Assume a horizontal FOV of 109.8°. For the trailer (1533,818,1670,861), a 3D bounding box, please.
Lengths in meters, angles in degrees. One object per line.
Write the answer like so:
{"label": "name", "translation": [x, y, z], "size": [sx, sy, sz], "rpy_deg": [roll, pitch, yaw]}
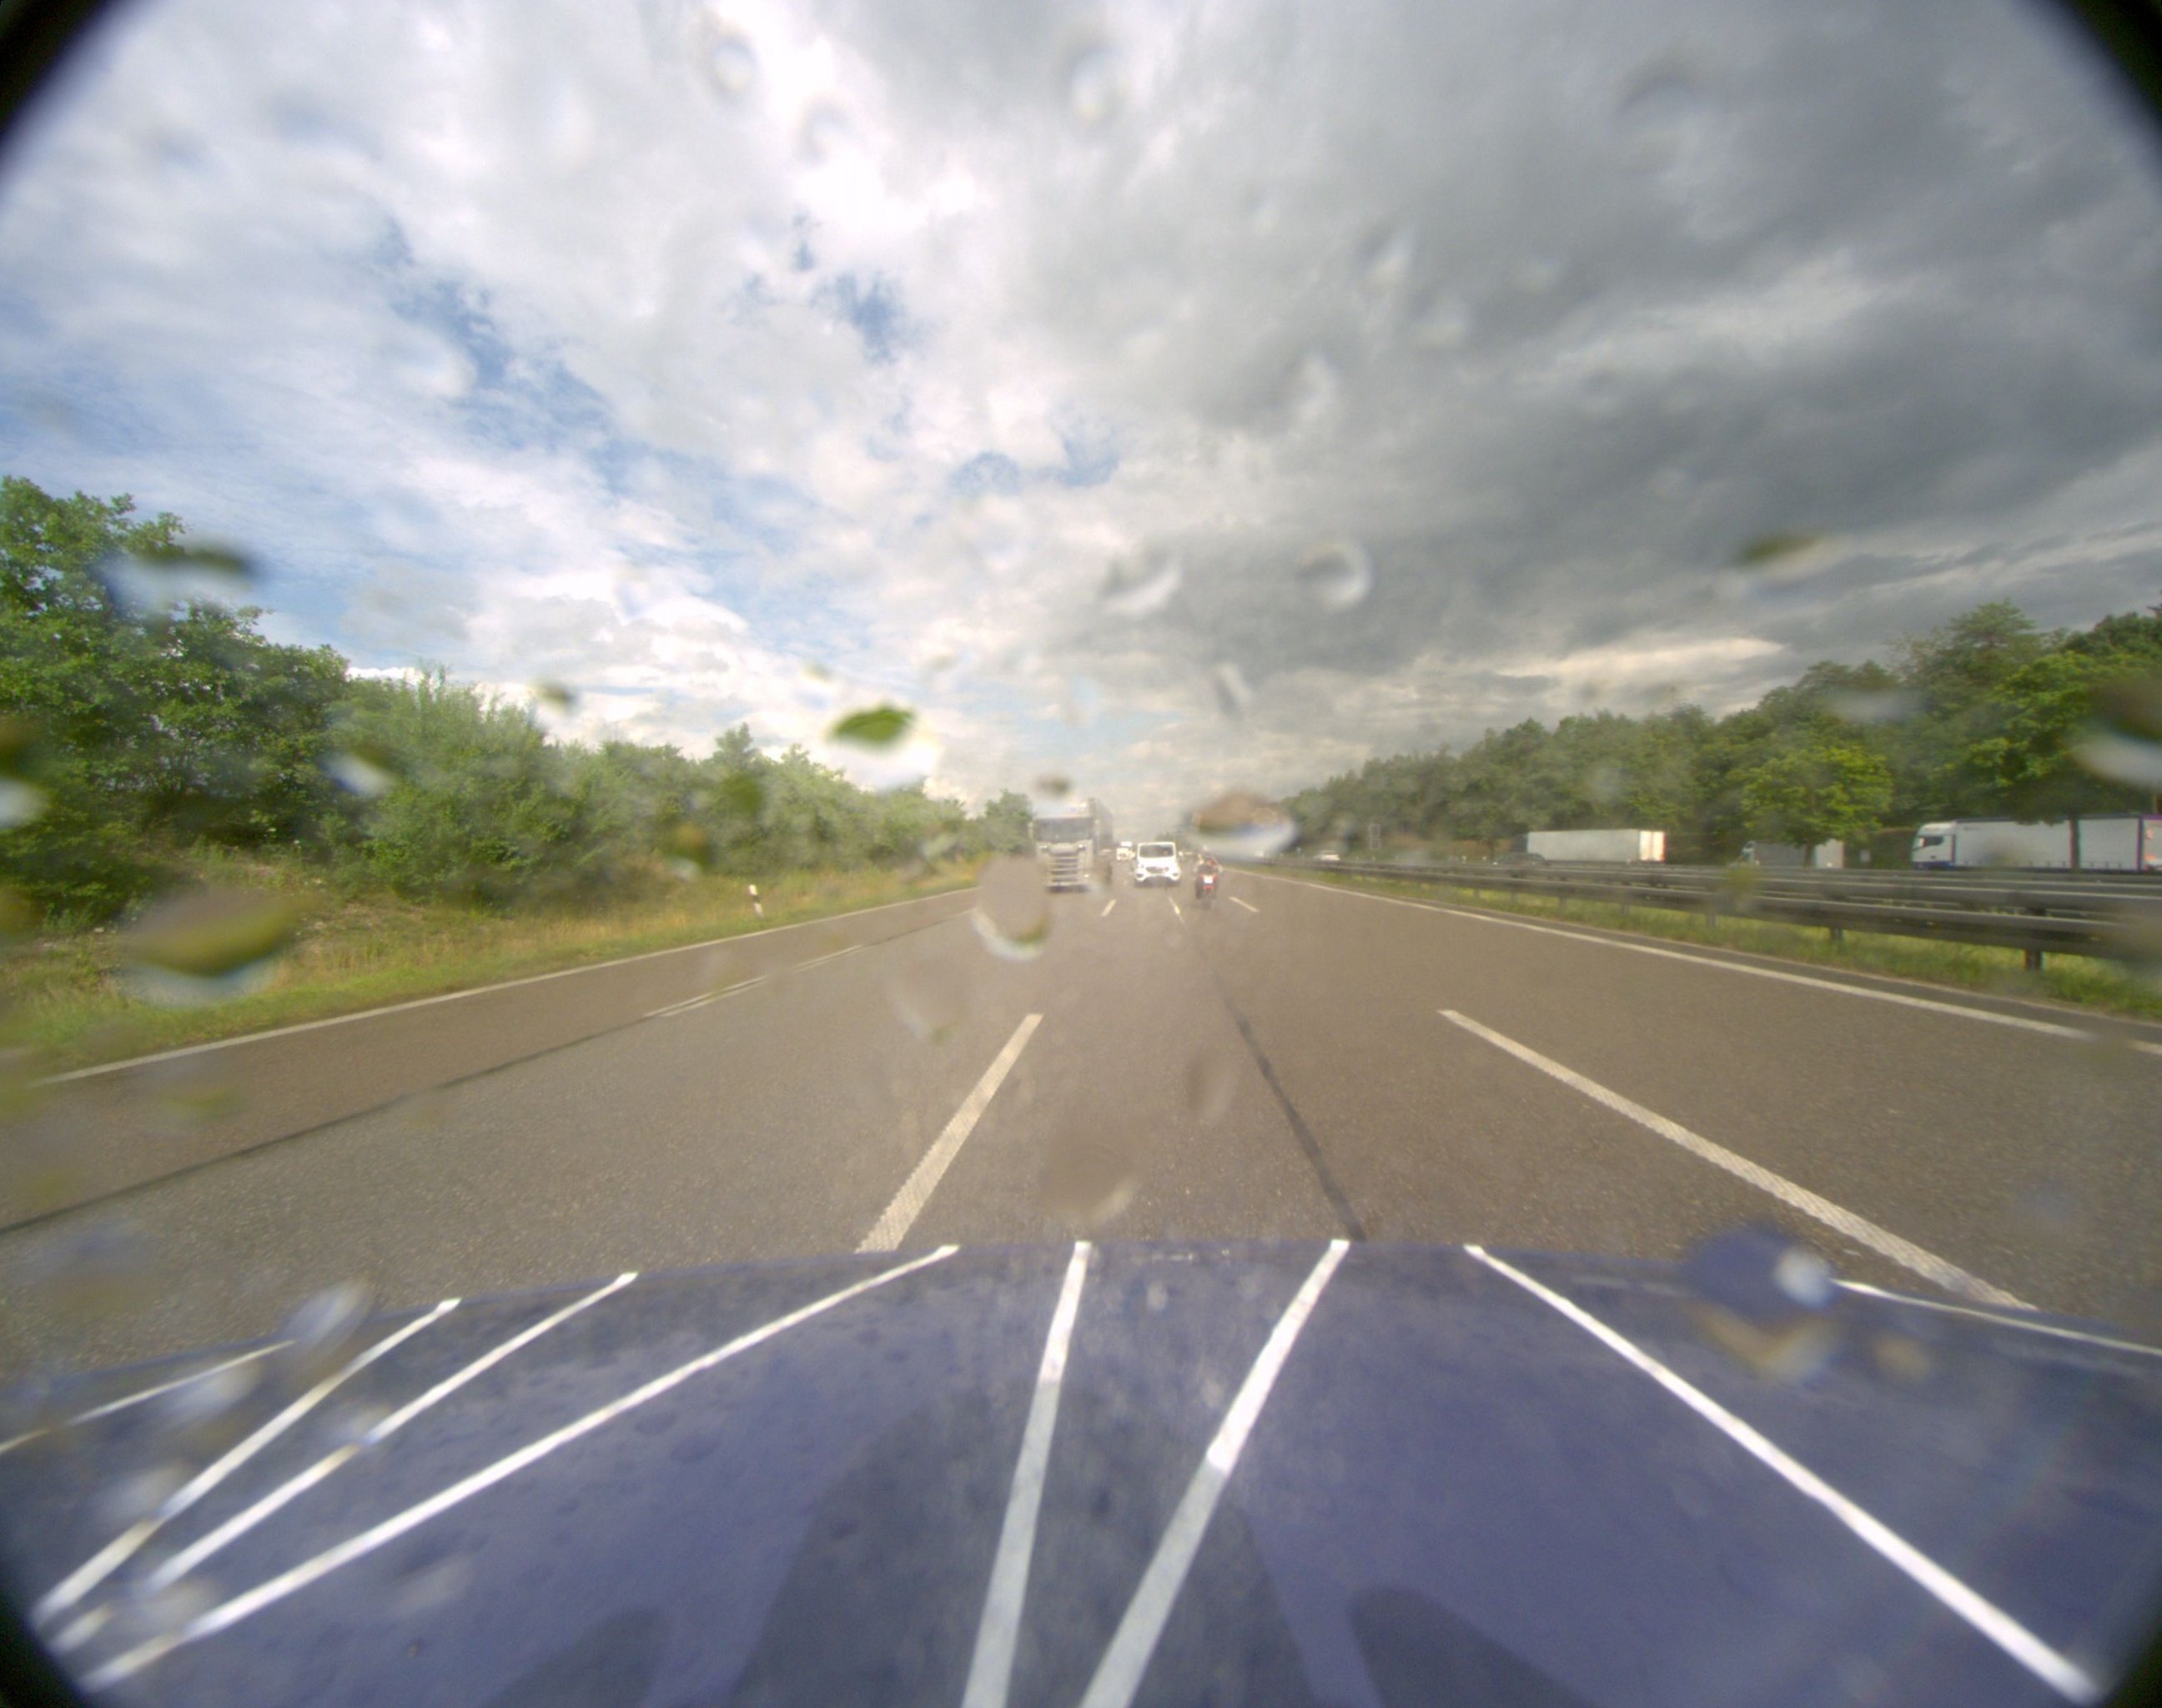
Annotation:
{"label": "trailer", "translation": [49.821, -1.334, 73.544], "size": [3.214, 3.717, 12.558], "rpy_deg": [-1, 1, -9]}

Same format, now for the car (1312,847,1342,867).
{"label": "car", "translation": [24.675, 0.282, 76.406], "size": [1.834, 1.880, 4.780], "rpy_deg": [-2, 1, 5]}

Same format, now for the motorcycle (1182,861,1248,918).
{"label": "motorcycle", "translation": [3.398, 0.863, 19.631], "size": [1.187, 1.219, 3.194], "rpy_deg": [-2, 1, 2]}

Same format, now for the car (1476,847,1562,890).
{"label": "car", "translation": [21.568, 0.657, 37.649], "size": [1.834, 1.880, 4.780], "rpy_deg": [-2, 1, 5]}

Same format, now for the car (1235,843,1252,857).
{"label": "car", "translation": [24.362, -0.613, 113.743], "size": [1.834, 1.880, 4.780], "rpy_deg": [-2, 1, 5]}

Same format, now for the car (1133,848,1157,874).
{"label": "car", "translation": [5.363, 0.542, 63.402], "size": [1.834, 2.033, 4.780], "rpy_deg": [-2, 1, 5]}

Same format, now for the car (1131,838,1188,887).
{"label": "car", "translation": [3.593, 0.330, 35.321], "size": [2.349, 2.033, 5.144], "rpy_deg": [-2, 1, 5]}

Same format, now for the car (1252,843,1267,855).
{"label": "car", "translation": [32.813, -0.980, 139.674], "size": [1.834, 2.033, 4.780], "rpy_deg": [-2, 1, 5]}

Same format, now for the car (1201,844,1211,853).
{"label": "car", "translation": [28.901, -1.323, 176.101], "size": [1.834, 2.033, 4.780], "rpy_deg": [-2, 1, 5]}

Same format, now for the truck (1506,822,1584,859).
{"label": "truck", "translation": [48.759, -1.404, 80.041], "size": [3.218, 3.683, 6.910], "rpy_deg": [-3, 1, -9]}

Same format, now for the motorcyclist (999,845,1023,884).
{"label": "motorcyclist", "translation": [-3.141, 0.446, 34.197], "size": [0.883, 1.696, 1.001], "rpy_deg": [-2, 1, 3]}

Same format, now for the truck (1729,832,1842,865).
{"label": "truck", "translation": [52.749, -0.436, 57.121], "size": [2.125, 2.252, 6.313], "rpy_deg": [-2, 1, -8]}

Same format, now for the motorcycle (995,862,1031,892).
{"label": "motorcycle", "translation": [-3.061, 1.016, 34.426], "size": [1.187, 1.142, 3.194], "rpy_deg": [-2, 1, 2]}

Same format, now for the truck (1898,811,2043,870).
{"label": "truck", "translation": [53.677, -0.810, 46.051], "size": [2.662, 3.249, 5.083], "rpy_deg": [-2, 1, -5]}

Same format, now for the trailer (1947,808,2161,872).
{"label": "trailer", "translation": [54.083, -0.782, 42.262], "size": [2.587, 3.214, 7.737], "rpy_deg": [-1, 1, -5]}

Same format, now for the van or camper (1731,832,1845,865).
{"label": "van or camper", "translation": [52.749, -0.434, 56.957], "size": [2.125, 2.252, 6.318], "rpy_deg": [-2, 1, -8]}

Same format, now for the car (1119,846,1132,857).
{"label": "car", "translation": [8.596, -0.525, 146.810], "size": [2.349, 2.033, 5.144], "rpy_deg": [-2, 1, 5]}

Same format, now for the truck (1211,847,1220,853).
{"label": "truck", "translation": [33.164, -1.031, 187.349], "size": [1.892, 1.187, 4.001], "rpy_deg": [-2, 1, 5]}

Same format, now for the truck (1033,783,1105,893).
{"label": "truck", "translation": [-0.382, -0.684, 33.420], "size": [2.649, 4.250, 6.884], "rpy_deg": [-2, 1, 2]}

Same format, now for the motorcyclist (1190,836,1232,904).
{"label": "motorcyclist", "translation": [3.358, 0.393, 19.712], "size": [0.883, 1.696, 1.001], "rpy_deg": [-2, 1, 3]}

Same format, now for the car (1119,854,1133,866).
{"label": "car", "translation": [8.275, 1.144, 139.597], "size": [2.349, 2.033, 5.144], "rpy_deg": [-2, 1, 5]}

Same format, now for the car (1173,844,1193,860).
{"label": "car", "translation": [13.717, -0.330, 102.150], "size": [2.349, 2.033, 5.144], "rpy_deg": [-2, 1, 5]}
